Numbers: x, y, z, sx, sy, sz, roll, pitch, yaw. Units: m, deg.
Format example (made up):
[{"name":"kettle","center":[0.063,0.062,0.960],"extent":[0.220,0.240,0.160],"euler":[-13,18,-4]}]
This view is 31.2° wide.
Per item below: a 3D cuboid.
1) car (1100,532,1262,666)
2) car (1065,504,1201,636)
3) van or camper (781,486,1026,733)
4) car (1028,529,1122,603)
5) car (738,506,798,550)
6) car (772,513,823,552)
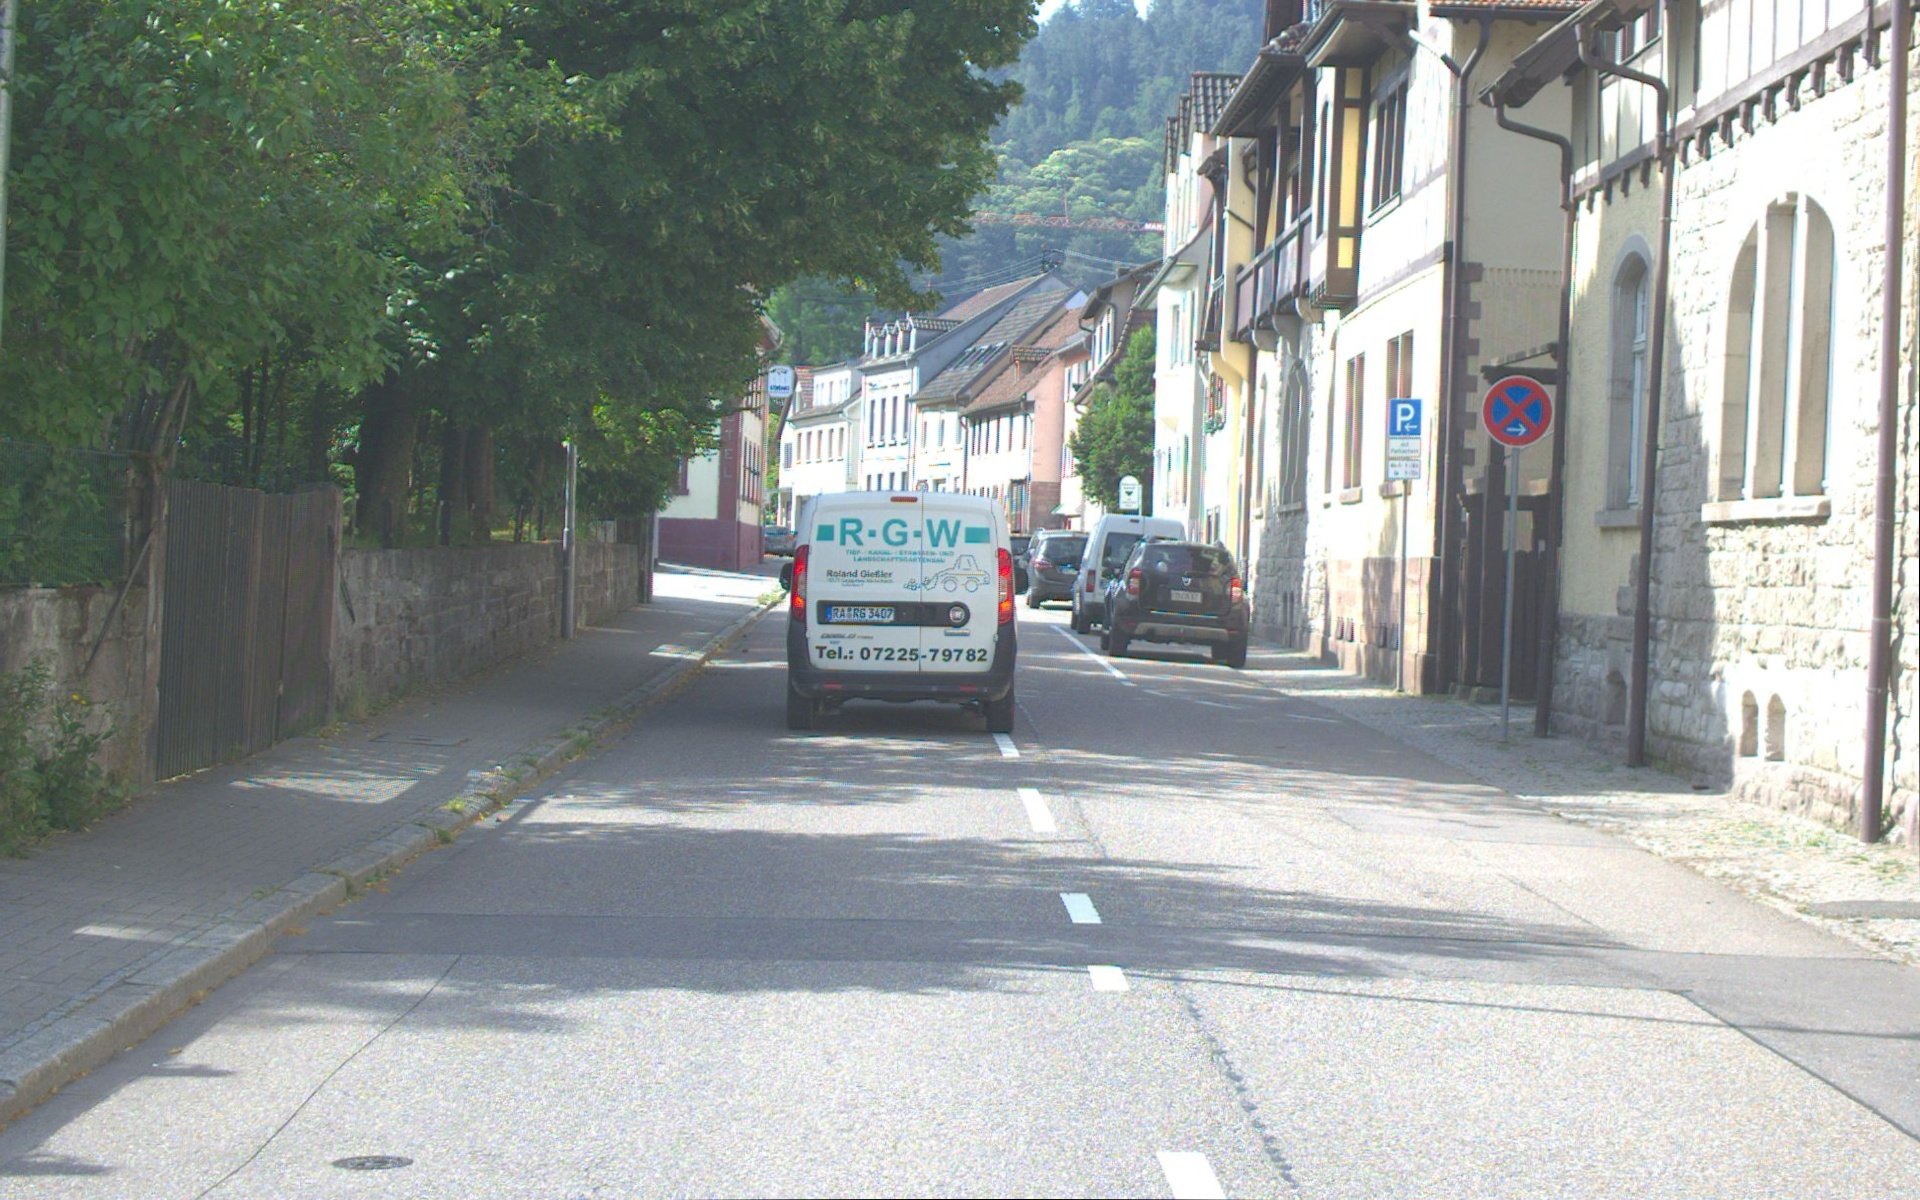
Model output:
[{"name":"car","center":[2.946,-0.052,46.577],"extent":[1.810,1.591,3.927],"euler":[4,1,0]},{"name":"car","center":[2.817,-0.518,56.757],"extent":[1.871,2.007,4.000],"euler":[3,1,-1]},{"name":"van or camper","center":[-0.482,0.007,27.759],"extent":[1.828,1.838,4.189],"euler":[0,2,-2]},{"name":"car","center":[2.424,-0.743,73.167],"extent":[1.669,1.503,4.001],"euler":[1,1,-3]},{"name":"car","center":[-8.815,-3.332,157.633],"extent":[1.993,1.776,4.002],"euler":[4,2,-13]},{"name":"car","center":[-7.872,-3.293,166.091],"extent":[1.771,1.792,4.001],"euler":[2,1,-12]}]
